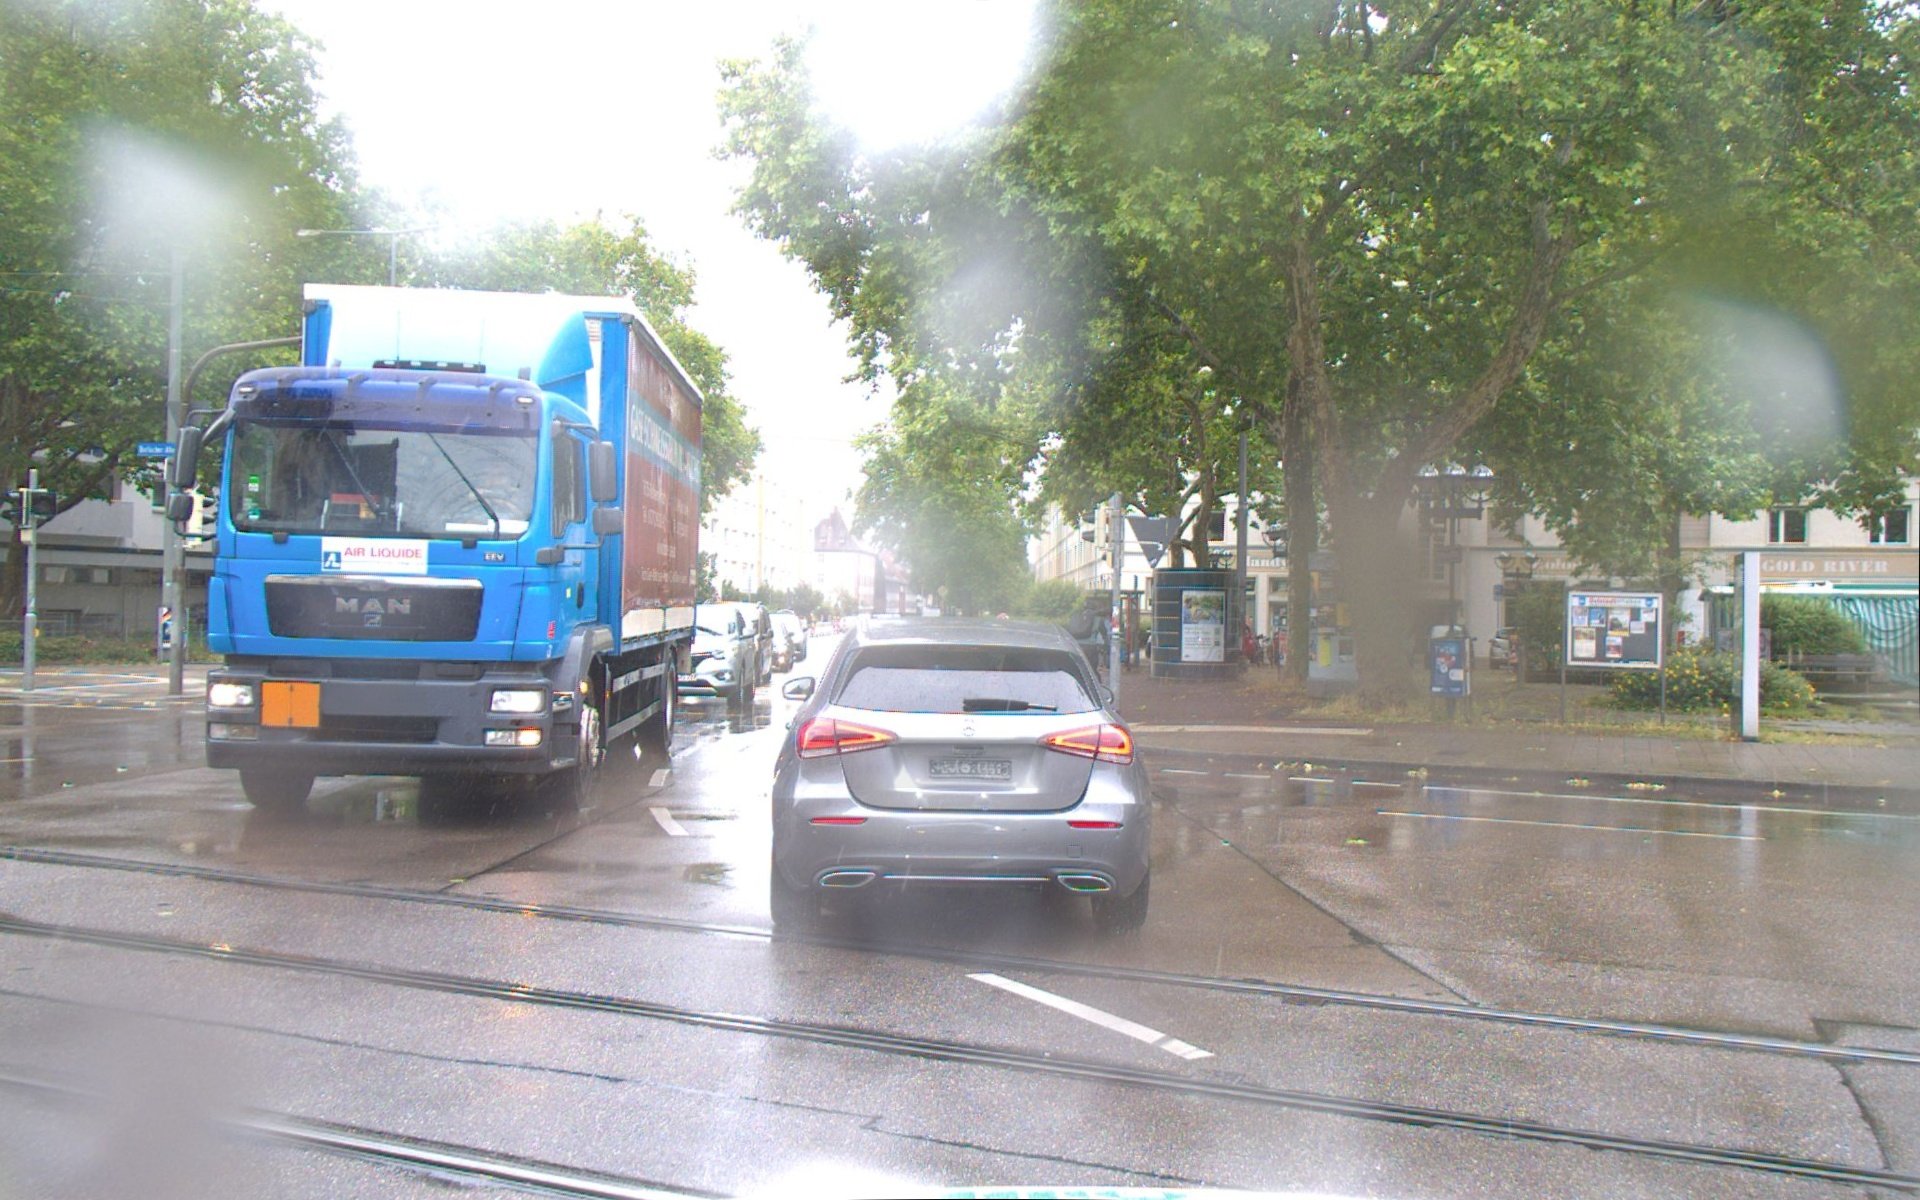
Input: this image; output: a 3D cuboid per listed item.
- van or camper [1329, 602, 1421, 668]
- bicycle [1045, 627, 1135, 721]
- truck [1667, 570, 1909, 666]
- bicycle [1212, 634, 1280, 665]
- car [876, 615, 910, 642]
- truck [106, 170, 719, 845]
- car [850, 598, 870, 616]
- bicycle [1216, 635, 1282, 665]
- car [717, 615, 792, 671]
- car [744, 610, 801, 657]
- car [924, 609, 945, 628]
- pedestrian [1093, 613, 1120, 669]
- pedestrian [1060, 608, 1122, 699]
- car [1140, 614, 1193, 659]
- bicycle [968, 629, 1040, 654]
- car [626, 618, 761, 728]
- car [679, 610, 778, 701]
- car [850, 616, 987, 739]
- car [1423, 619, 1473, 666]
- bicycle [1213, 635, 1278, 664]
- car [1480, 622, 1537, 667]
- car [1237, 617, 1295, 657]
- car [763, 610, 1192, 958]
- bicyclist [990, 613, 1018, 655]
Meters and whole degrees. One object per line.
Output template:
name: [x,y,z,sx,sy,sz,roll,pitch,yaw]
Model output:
van or camper: [15.198,1.273,60.326,2.348,2.270,5.426,0,-1,24]
bicycle: [2.117,1.150,26.620,0.733,1.401,2.707,0,0,20]
truck: [24.854,0.521,49.959,6.246,2.747,2.269,1,-1,18]
bicycle: [9.827,1.694,56.869,2.234,1.000,0.545,1,-1,20]
car: [-4.152,1.761,102.104,1.954,1.601,3.996,1,-1,-4]
truck: [-4.079,-0.525,15.271,2.789,4.096,10.308,0,0,-4]
car: [-10.752,0.731,177.753,1.850,1.868,4.000,1,-1,1]
bicycle: [10.075,1.731,57.635,2.205,0.985,0.534,1,-1,20]
car: [-5.686,1.188,46.194,1.707,1.414,4.360,2,-1,-3]
car: [-6.535,1.151,57.937,1.809,1.536,4.052,1,-1,-4]
car: [-2.587,1.904,170.555,2.004,1.868,4.792,1,-1,1]
pedestrian: [4.518,1.253,51.042,0.702,1.698,0.664,1,-1,-6]
pedestrian: [2.114,0.844,26.617,0.729,1.422,1.047,0,-1,21]
car: [7.792,1.400,62.319,1.652,1.578,3.525,1,-3,12]
bicycle: [2.028,1.922,76.023,3.160,1.132,1.047,1,-3,-22]
car: [-4.292,1.136,27.124,1.707,1.632,3.998,1,-1,-3]
car: [-5.076,1.189,36.769,1.770,1.894,4.107,1,-1,-3]
car: [-0.583,0.910,21.025,1.575,1.396,3.997,0,0,-3]
car: [17.459,1.517,59.133,1.644,1.603,3.737,1,-1,17]
bicycle: [10.096,1.737,58.446,2.200,0.985,0.585,1,-1,20]
car: [19.664,1.621,59.185,1.645,1.457,3.734,0,-3,23]
car: [11.418,1.381,61.552,1.550,1.360,3.261,0,-3,21]
car: [-0.009,0.786,8.681,1.755,1.396,3.504,2,0,-3]
bicyclist: [2.015,1.585,75.976,0.925,1.901,1.135,1,-3,-21]
